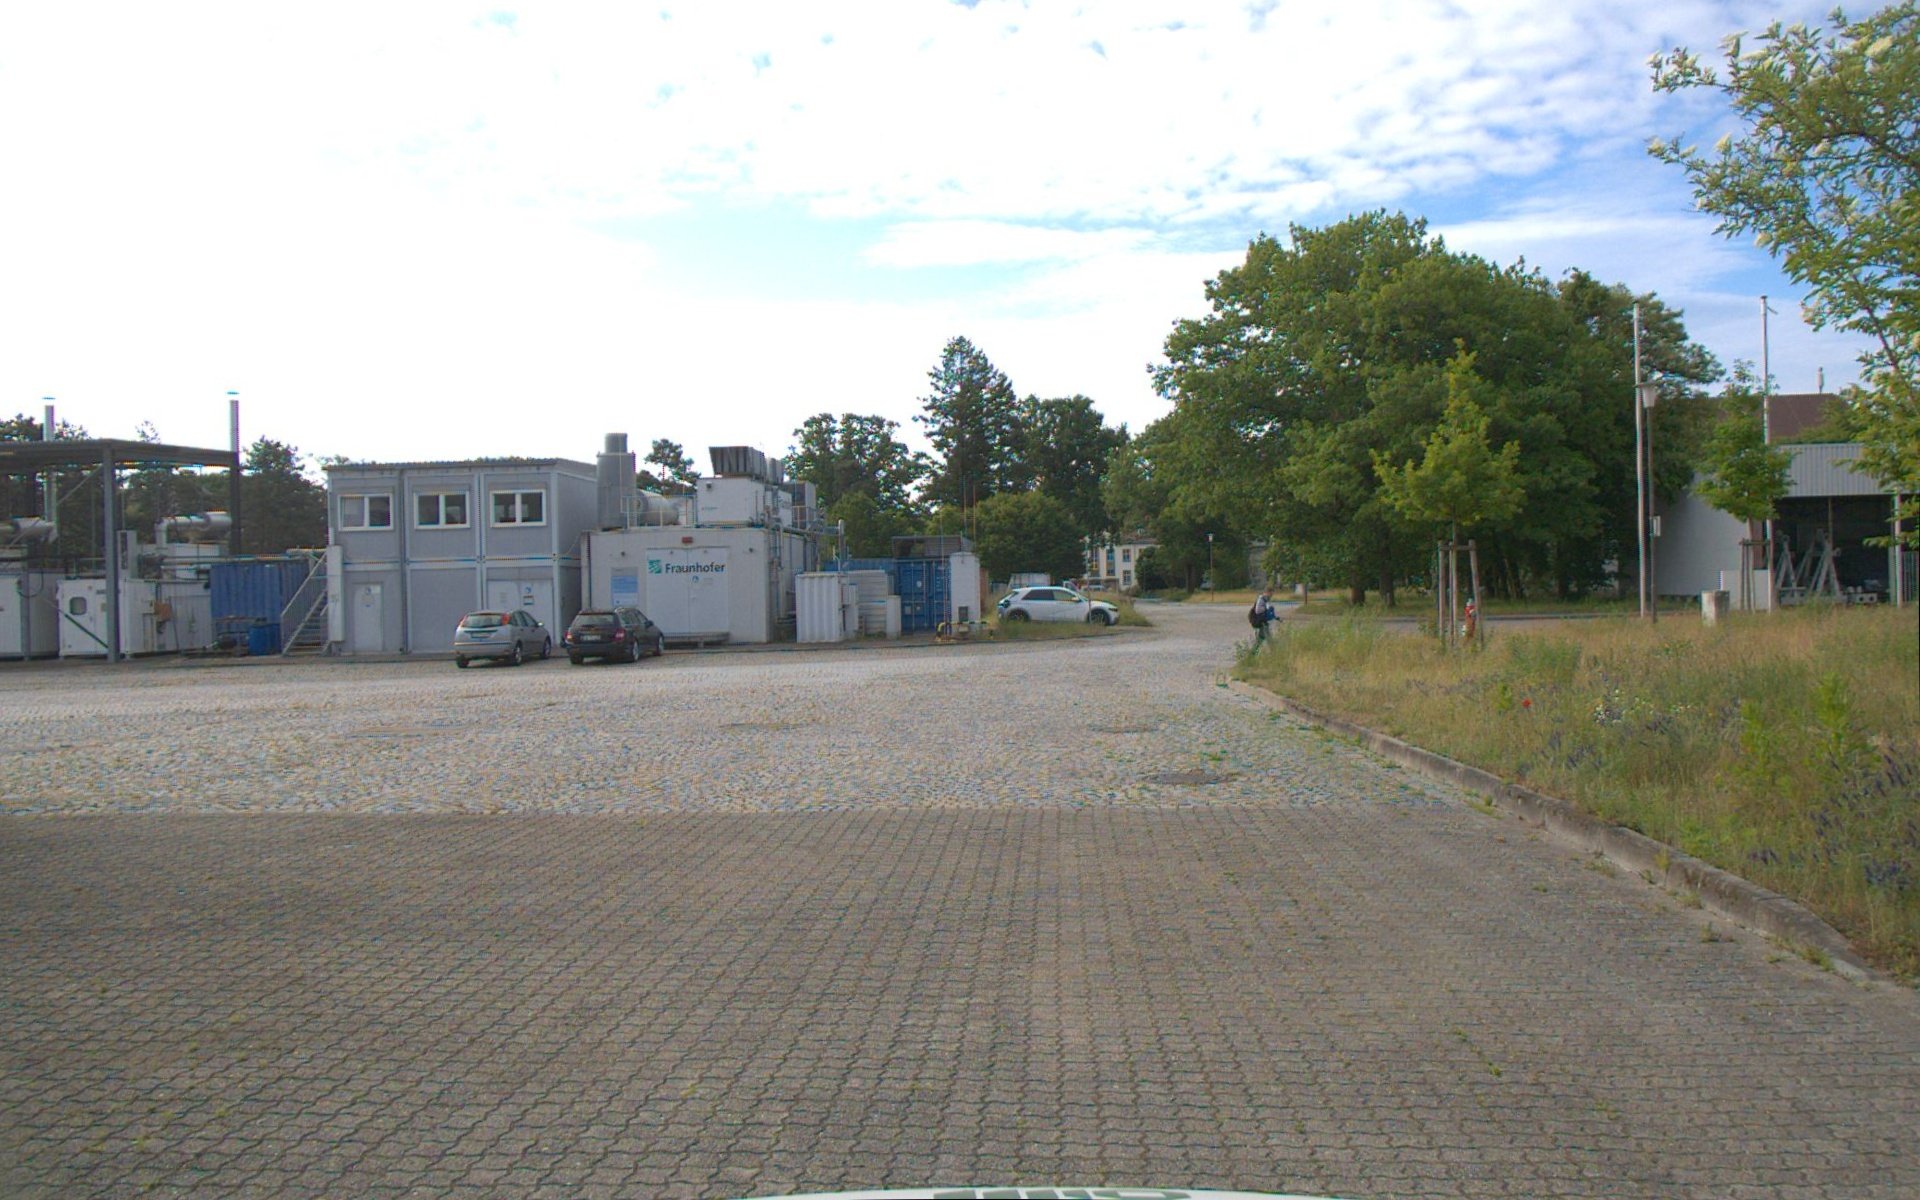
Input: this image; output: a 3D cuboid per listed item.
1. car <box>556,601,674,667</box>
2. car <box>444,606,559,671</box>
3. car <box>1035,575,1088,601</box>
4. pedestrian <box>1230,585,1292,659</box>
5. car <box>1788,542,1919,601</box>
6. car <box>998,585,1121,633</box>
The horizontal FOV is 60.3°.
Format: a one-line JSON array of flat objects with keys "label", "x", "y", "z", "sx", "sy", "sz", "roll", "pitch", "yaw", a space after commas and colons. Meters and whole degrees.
[{"label": "car", "x": -9.323, "y": 0.879, "z": 45.095, "sx": 1.994, "sy": 1.478, "sz": 4.532, "roll": -2, "pitch": 2, "yaw": 3}, {"label": "car", "x": -12.519, "y": 1.017, "z": 45.420, "sx": 1.867, "sy": 1.501, "sz": 4.048, "roll": -2, "pitch": 1, "yaw": 2}, {"label": "car", "x": 10.009, "y": -1.133, "z": 162.958, "sx": 5.062, "sy": 2.378, "sz": 2.001, "roll": -2, "pitch": 0, "yaw": 3}, {"label": "pedestrian", "x": 6.696, "y": 0.486, "z": 36.770, "sx": 1.054, "sy": 1.583, "sz": 1.074, "roll": -2, "pitch": 0, "yaw": 27}, {"label": "car", "x": 33.645, "y": -1.031, "z": 62.501, "sx": 2.194, "sy": 2.049, "sz": 5.338, "roll": -2, "pitch": 0, "yaw": 2}, {"label": "car", "x": 3.720, "y": 0.329, "z": 61.514, "sx": 4.438, "sy": 1.627, "sz": 2.001, "roll": -2, "pitch": 0, "yaw": 6}]
